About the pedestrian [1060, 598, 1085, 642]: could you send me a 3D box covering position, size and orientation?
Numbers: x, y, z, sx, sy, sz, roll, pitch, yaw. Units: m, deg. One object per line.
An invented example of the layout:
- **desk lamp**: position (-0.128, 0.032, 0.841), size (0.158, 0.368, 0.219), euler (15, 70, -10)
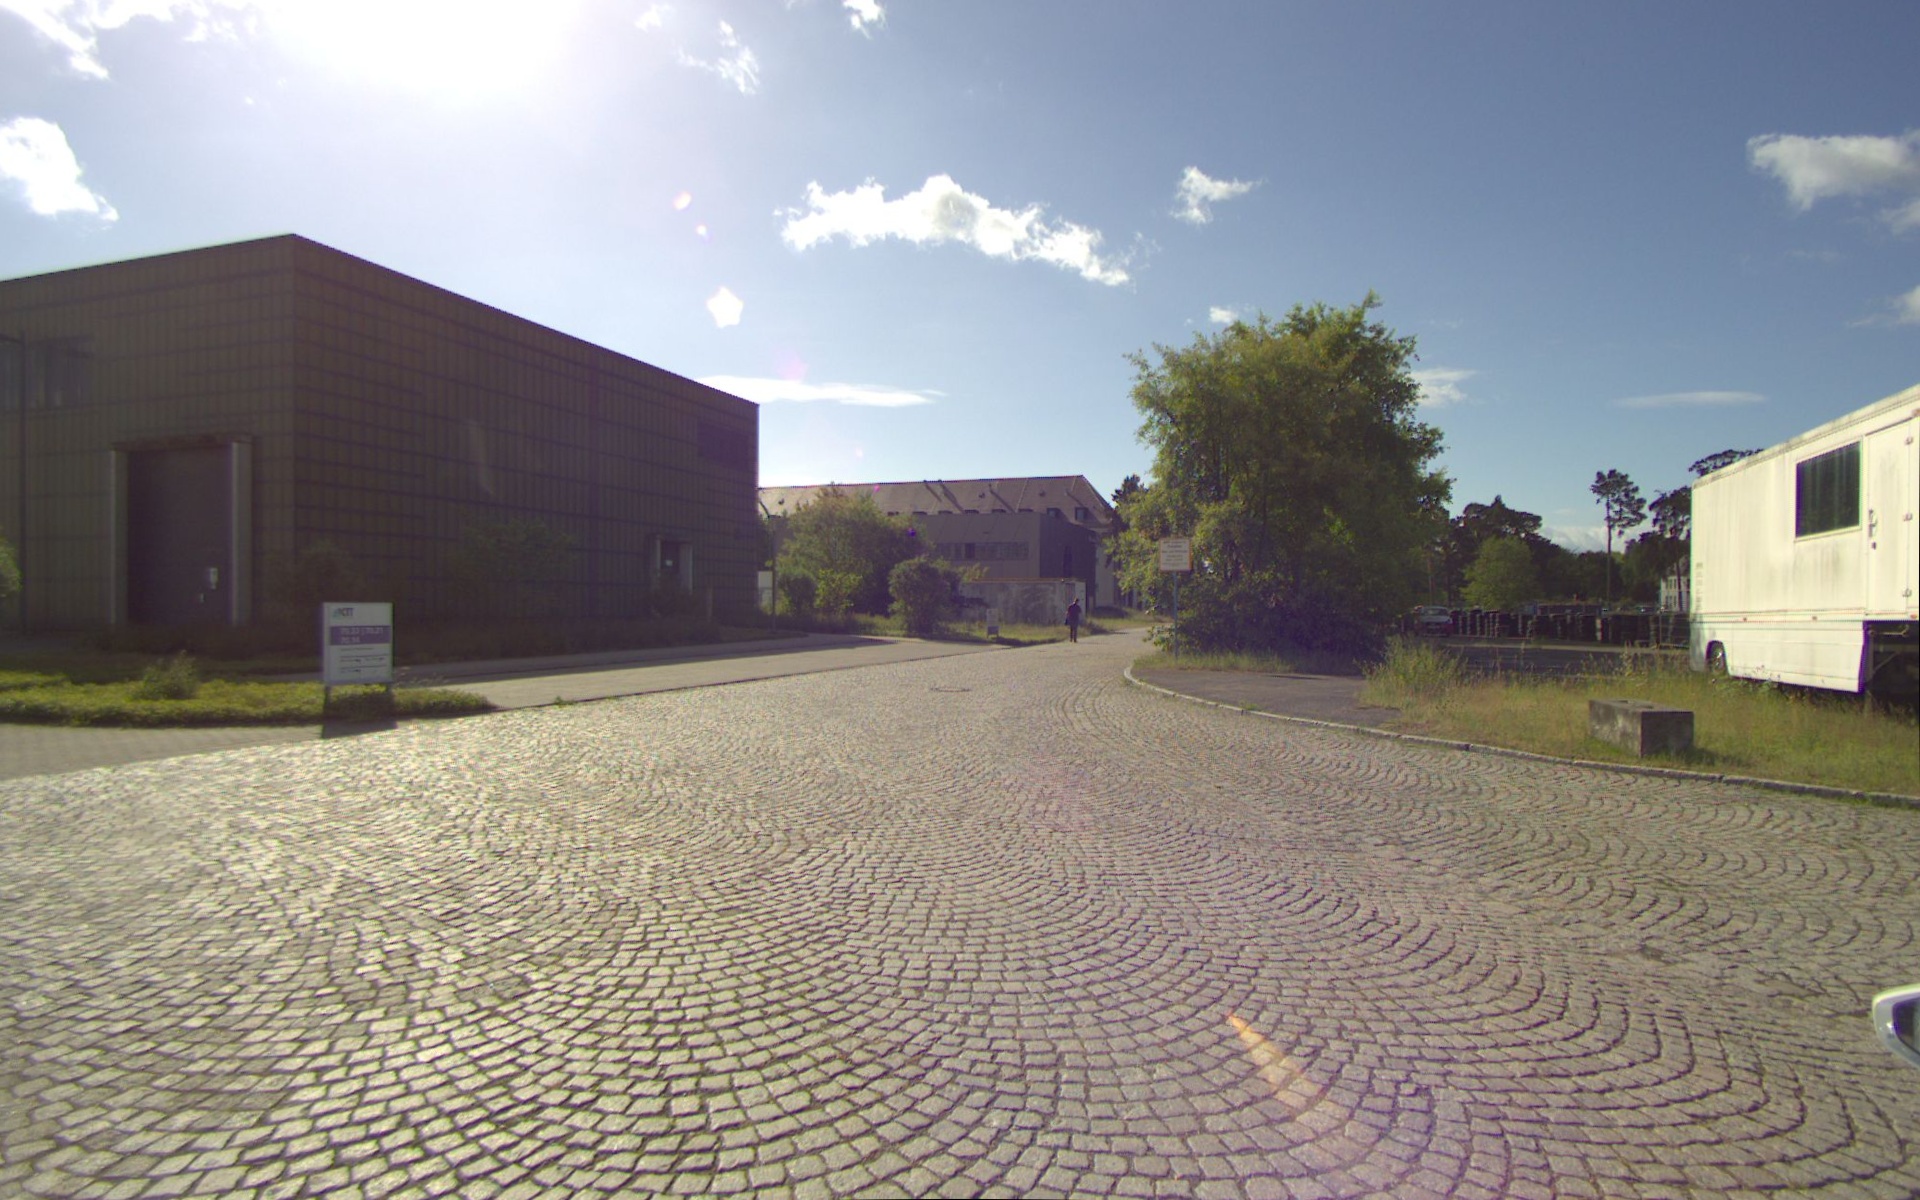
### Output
- **pedestrian**: position (4.677, 0.831, 41.779), size (0.781, 1.804, 1.069), euler (2, 0, 18)

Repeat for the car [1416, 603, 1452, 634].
- **car**: position (23.073, 0.883, 48.921), size (1.516, 1.425, 3.574), euler (0, 0, 25)

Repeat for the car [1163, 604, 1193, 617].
- **car**: position (21.998, 1.031, 101.390), size (2.852, 1.276, 1.288), euler (0, 0, 11)

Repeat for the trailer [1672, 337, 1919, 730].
- **trailer**: position (11.960, -0.654, 12.260), size (2.727, 3.963, 10.883), euler (0, 0, 21)
